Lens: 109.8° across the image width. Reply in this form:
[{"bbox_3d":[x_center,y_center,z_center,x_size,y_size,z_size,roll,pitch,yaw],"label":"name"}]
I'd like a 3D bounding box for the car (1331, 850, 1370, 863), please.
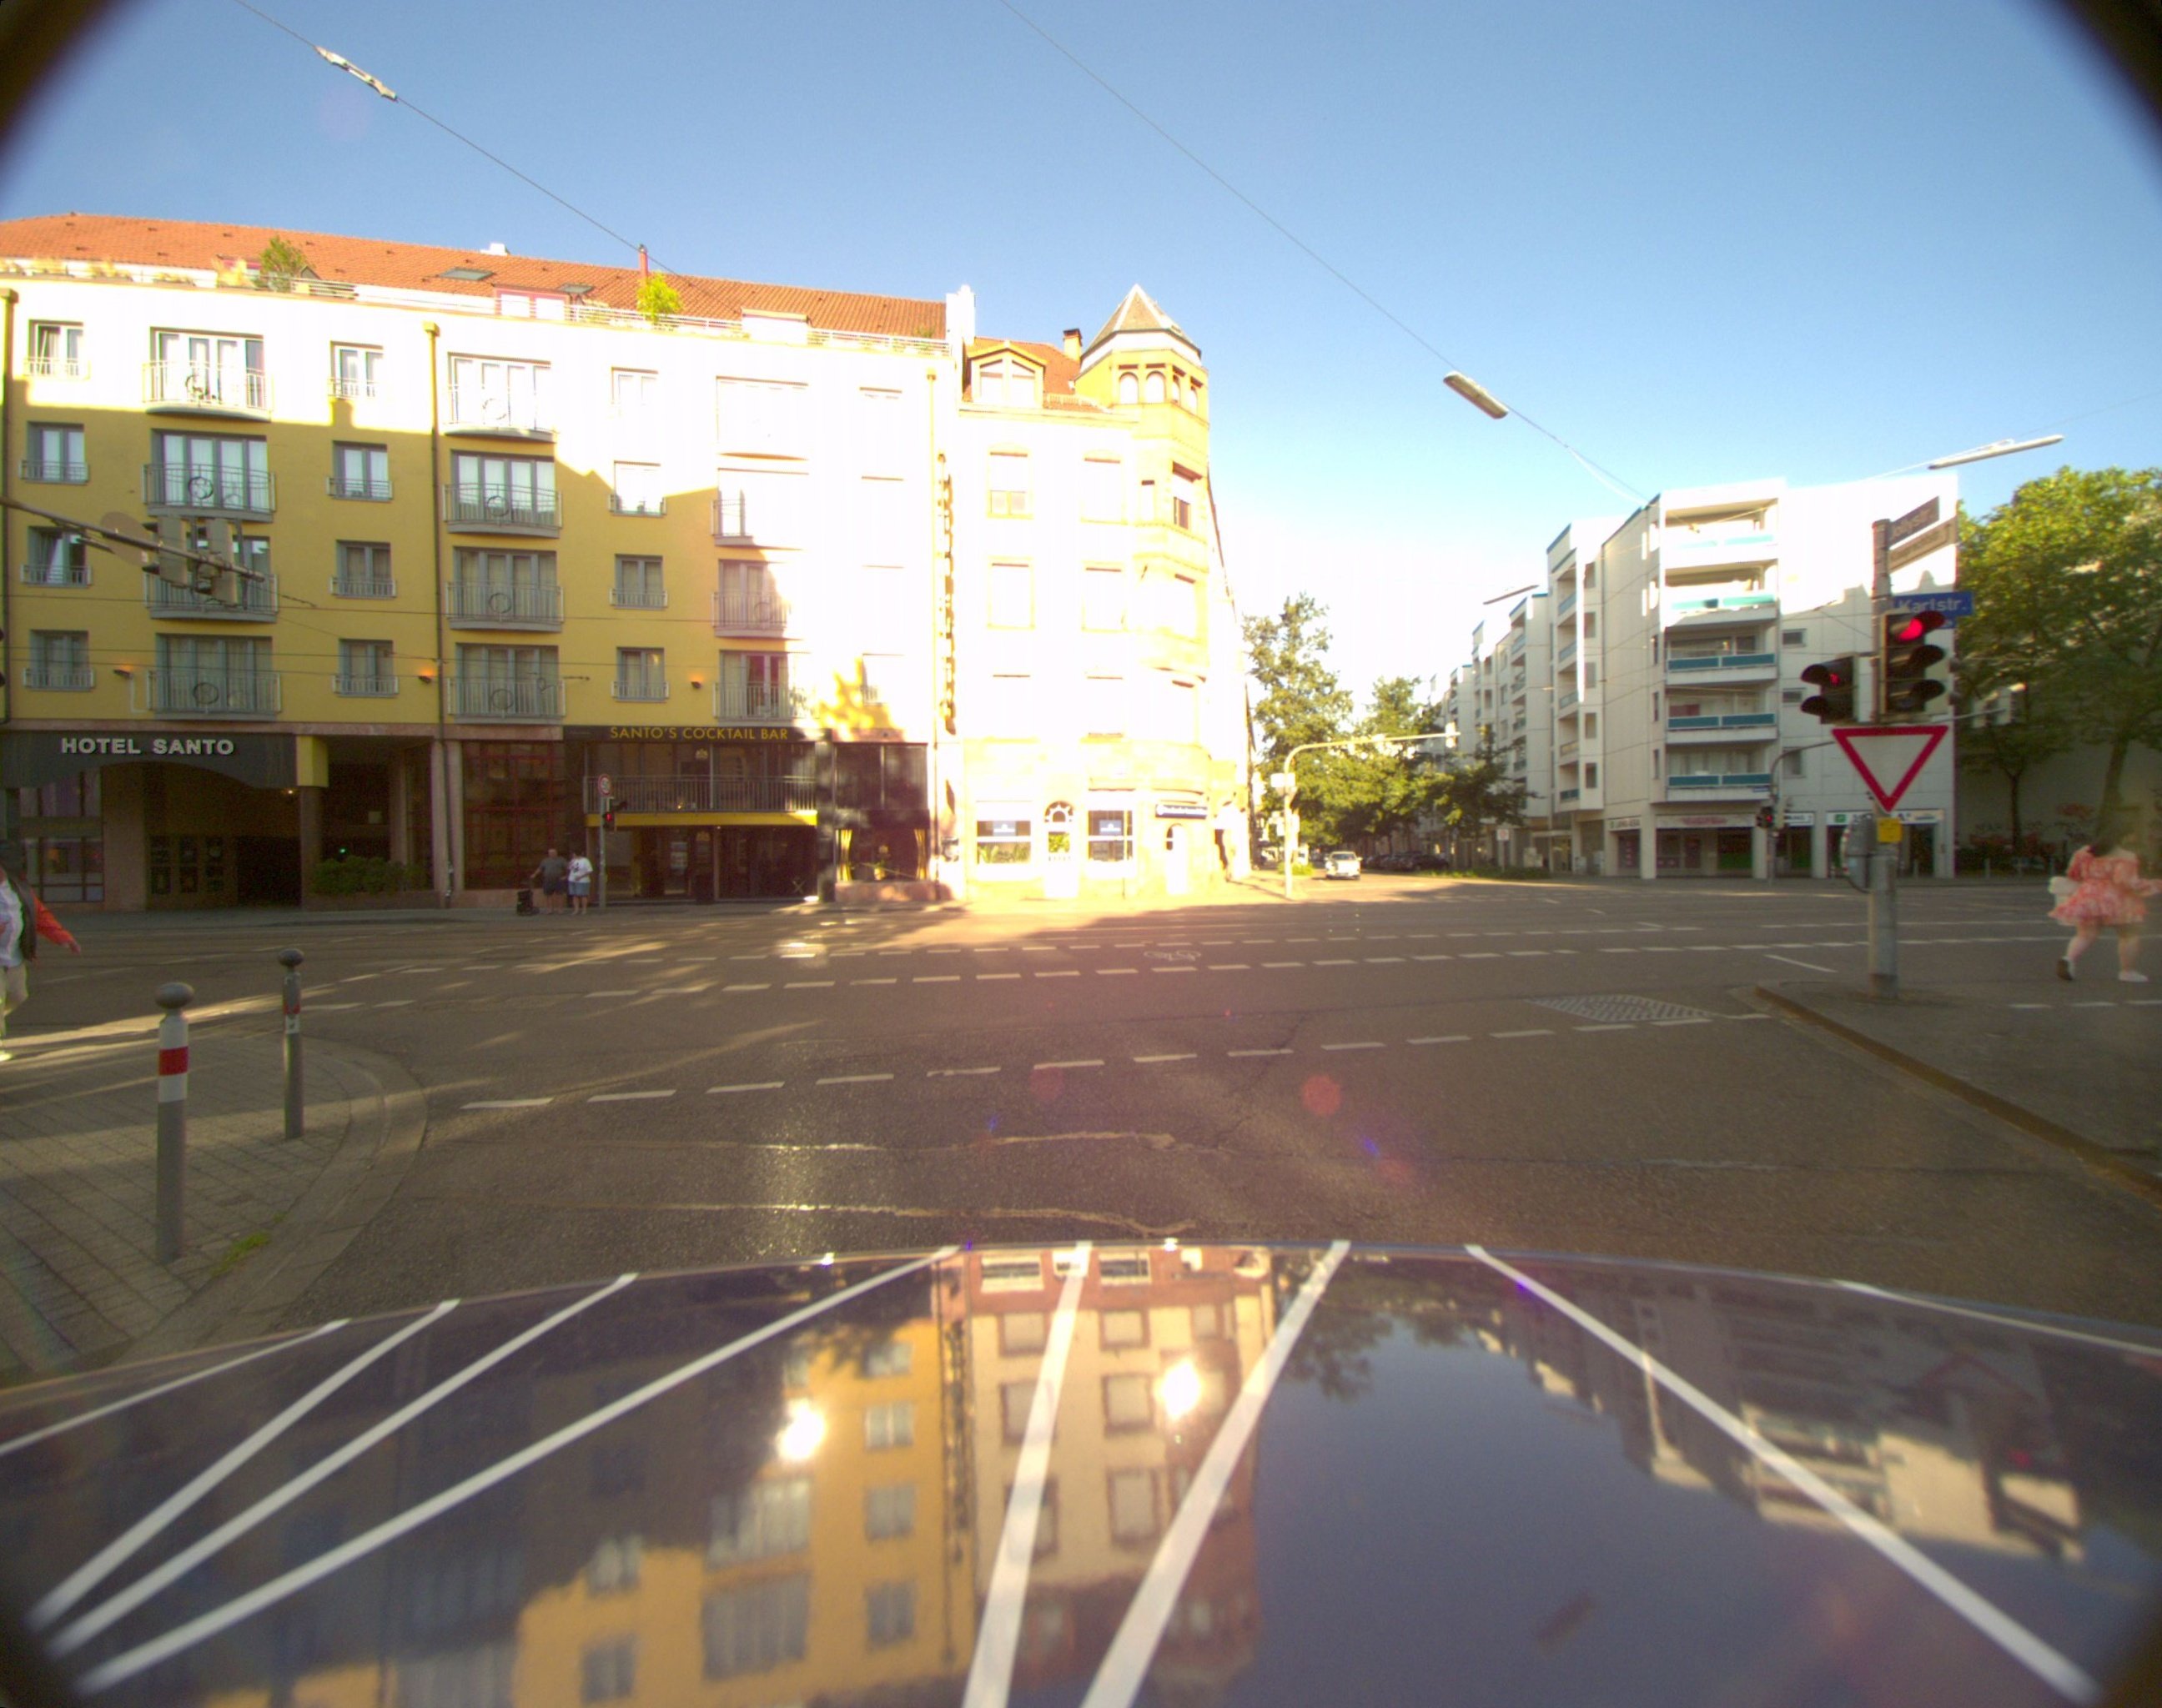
[{"bbox_3d":[34.616,0.337,97.665,4.298,1.576,2.001,-1,0,8],"label":"car"}]

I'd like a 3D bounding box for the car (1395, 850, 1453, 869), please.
[{"bbox_3d":[28.765,0.449,63.769,3.995,1.576,2.001,-1,0,6],"label":"car"}]

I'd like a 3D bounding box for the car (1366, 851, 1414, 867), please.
[{"bbox_3d":[32.592,0.527,80.181,4.298,1.576,2.001,-1,0,8],"label":"car"}]

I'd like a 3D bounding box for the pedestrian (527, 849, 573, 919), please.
[{"bbox_3d":[-14.455,0.795,20.708,0.679,1.831,0.726,-1,4,-9],"label":"pedestrian"}]

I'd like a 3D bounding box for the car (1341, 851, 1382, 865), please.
[{"bbox_3d":[33.674,0.467,91.461,4.298,1.576,2.001,-1,0,8],"label":"car"}]

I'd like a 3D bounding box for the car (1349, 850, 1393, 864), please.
[{"bbox_3d":[33.342,0.330,87.453,4.298,1.576,2.001,-1,0,8],"label":"car"}]

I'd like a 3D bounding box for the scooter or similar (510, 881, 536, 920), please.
[{"bbox_3d":[-14.946,1.241,20.353,0.357,0.972,0.422,-1,4,-10],"label":"scooter or similar"}]

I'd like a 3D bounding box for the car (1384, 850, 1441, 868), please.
[{"bbox_3d":[29.891,0.421,68.683,4.299,1.576,2.001,-1,0,6],"label":"car"}]

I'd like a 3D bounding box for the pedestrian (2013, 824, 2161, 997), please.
[{"bbox_3d":[10.736,0.547,8.001,0.985,1.688,0.868,-1,1,-19],"label":"pedestrian"}]

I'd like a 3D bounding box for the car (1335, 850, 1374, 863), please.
[{"bbox_3d":[34.036,0.336,94.559,4.298,1.576,2.001,-1,0,8],"label":"car"}]

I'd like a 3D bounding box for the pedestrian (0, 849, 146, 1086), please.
[{"bbox_3d":[-8.116,0.808,5.651,1.176,1.670,1.005,-1,1,-32],"label":"pedestrian"}]

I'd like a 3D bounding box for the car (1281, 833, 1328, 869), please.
[{"bbox_3d":[21.351,-0.281,72.999,3.321,3.160,8.088,0,0,9],"label":"car"}]

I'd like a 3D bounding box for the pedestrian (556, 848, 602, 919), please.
[{"bbox_3d":[-13.544,0.787,20.527,0.735,1.831,0.726,-1,4,-9],"label":"pedestrian"}]

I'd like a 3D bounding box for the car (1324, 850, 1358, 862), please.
[{"bbox_3d":[37.478,0.280,109.575,4.298,1.576,2.001,-1,0,8],"label":"car"}]

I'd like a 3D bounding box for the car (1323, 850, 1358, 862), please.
[{"bbox_3d":[35.747,0.274,104.816,4.298,1.576,2.001,-1,0,8],"label":"car"}]

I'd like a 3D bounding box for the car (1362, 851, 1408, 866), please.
[{"bbox_3d":[32.952,0.461,82.568,4.298,1.576,2.001,-1,0,8],"label":"car"}]

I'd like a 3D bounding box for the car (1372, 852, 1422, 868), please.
[{"bbox_3d":[32.054,0.618,77.164,4.298,1.576,2.001,-1,0,8],"label":"car"}]

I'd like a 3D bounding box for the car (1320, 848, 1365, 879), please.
[{"bbox_3d":[15.375,0.513,44.838,1.997,1.739,4.004,-1,0,12],"label":"car"}]

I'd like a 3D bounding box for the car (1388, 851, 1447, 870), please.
[{"bbox_3d":[29.231,0.534,66.176,4.299,1.576,2.001,-1,0,6],"label":"car"}]

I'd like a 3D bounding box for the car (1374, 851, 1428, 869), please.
[{"bbox_3d":[29.920,0.567,71.129,4.299,1.576,2.001,-1,0,6],"label":"car"}]
